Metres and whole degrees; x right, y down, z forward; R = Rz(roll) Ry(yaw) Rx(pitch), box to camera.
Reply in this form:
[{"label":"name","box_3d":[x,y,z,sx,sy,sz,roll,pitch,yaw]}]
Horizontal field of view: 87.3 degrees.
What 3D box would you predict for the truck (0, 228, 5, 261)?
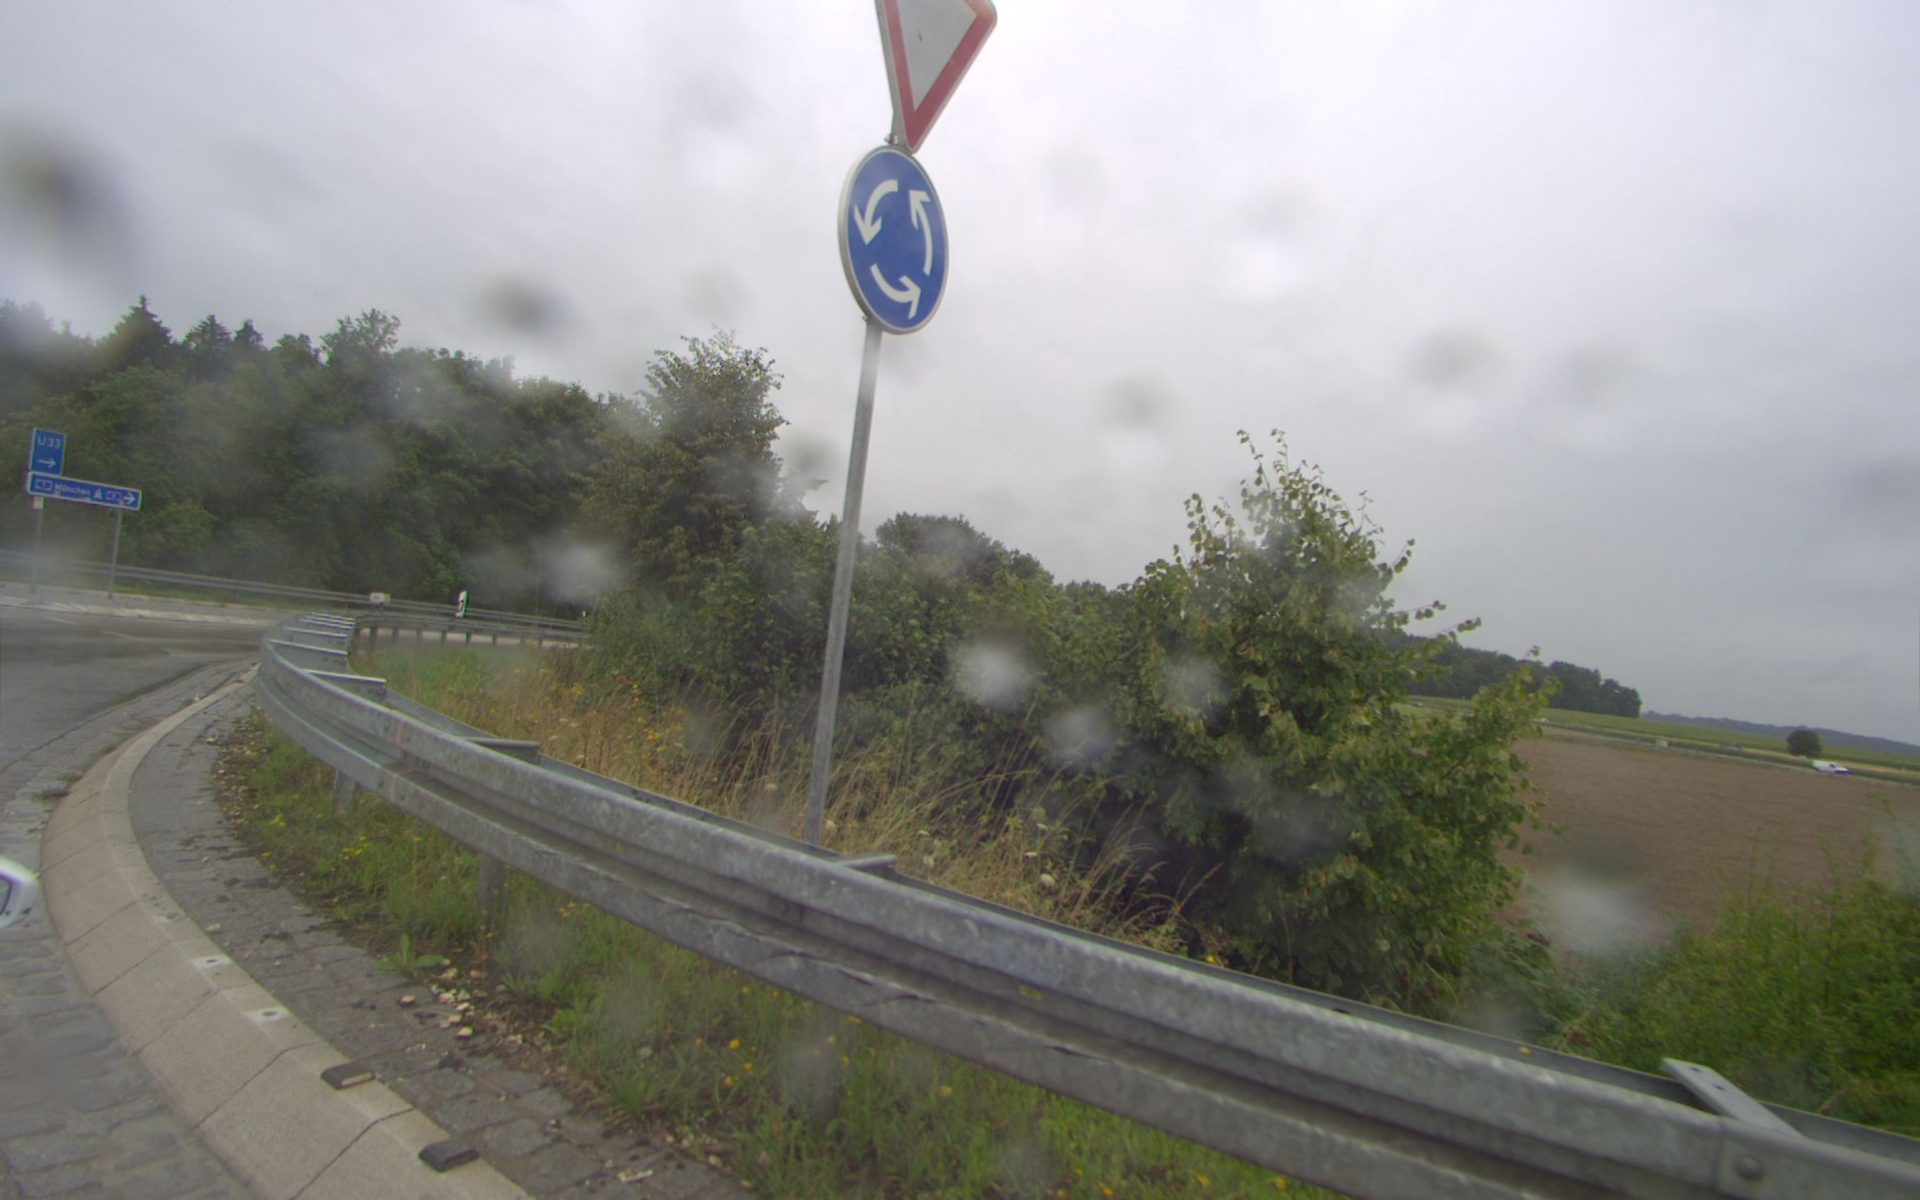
[{"label":"truck","box_3d":[-12.460,-1.631,10.482,8.712,3.894,3.034,4,-4,45]}]
